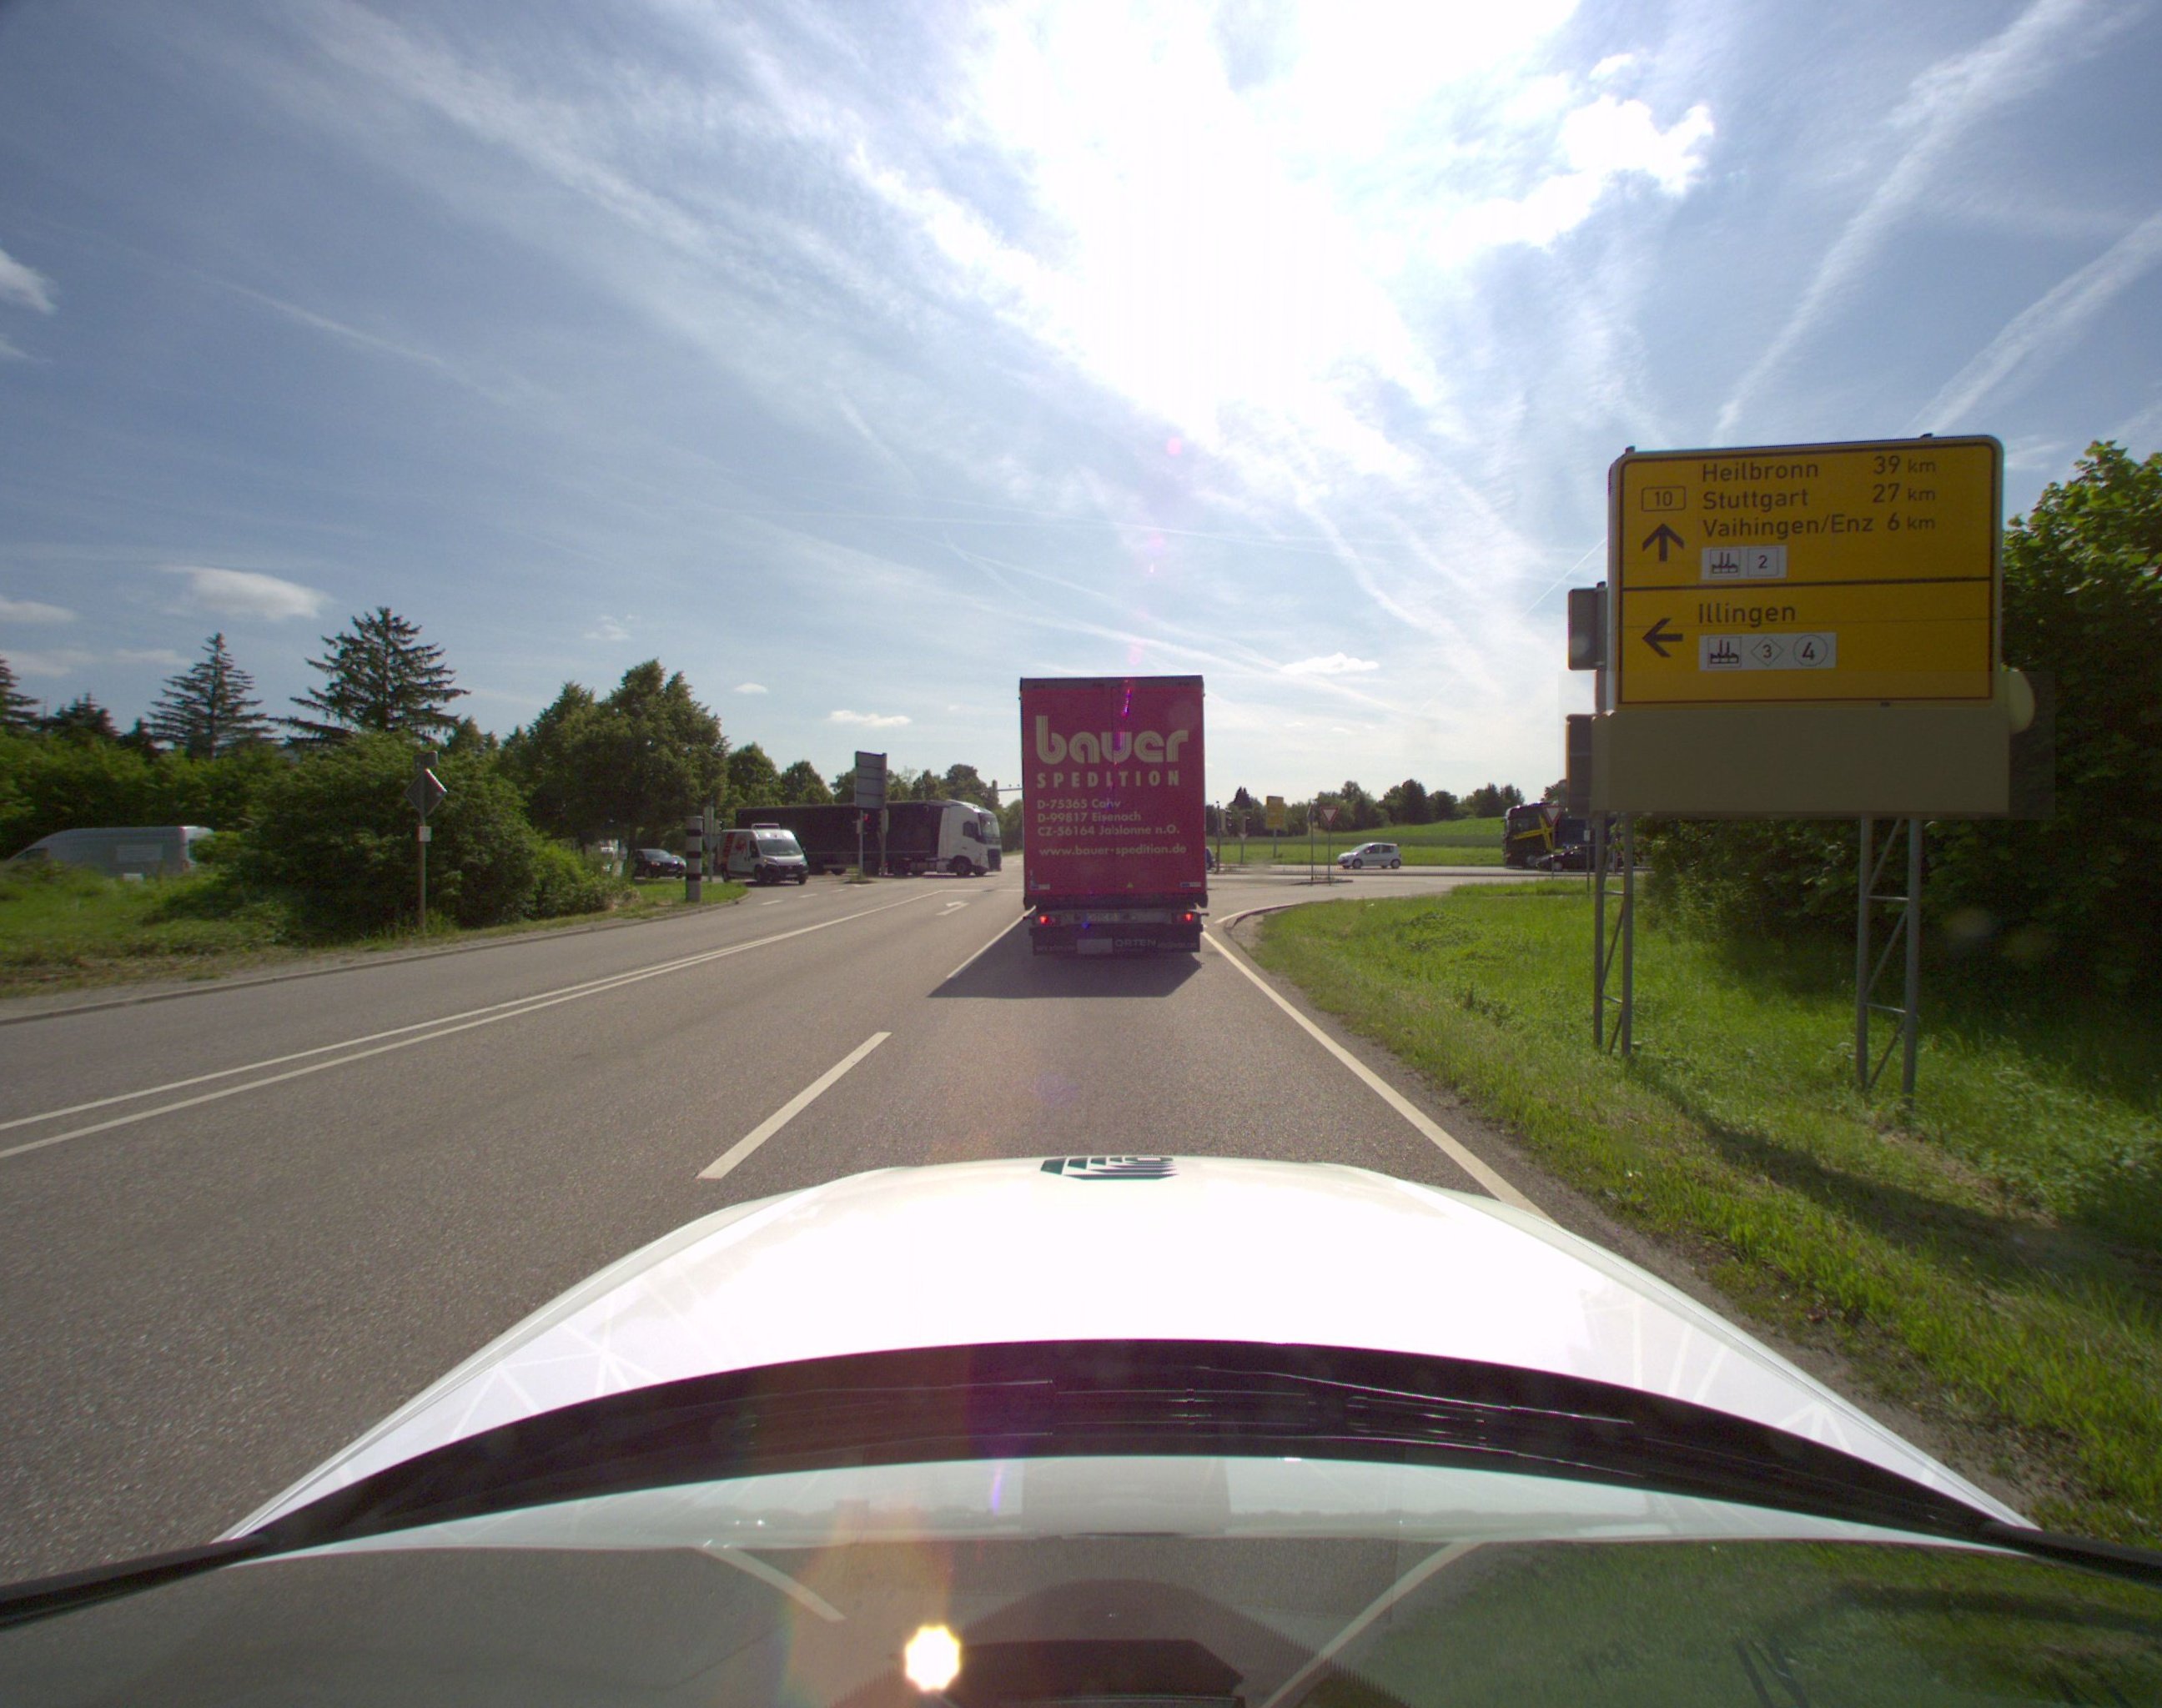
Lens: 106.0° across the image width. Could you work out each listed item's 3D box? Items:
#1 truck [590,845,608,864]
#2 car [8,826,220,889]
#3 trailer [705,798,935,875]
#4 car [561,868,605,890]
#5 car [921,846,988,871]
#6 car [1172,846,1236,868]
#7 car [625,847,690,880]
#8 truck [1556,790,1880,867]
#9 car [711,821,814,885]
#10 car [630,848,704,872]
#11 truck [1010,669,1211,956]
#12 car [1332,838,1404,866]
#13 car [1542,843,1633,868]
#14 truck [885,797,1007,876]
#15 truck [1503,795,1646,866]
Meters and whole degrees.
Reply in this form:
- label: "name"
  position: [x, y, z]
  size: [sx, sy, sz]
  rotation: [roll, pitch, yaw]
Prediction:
- label: "truck"
  position: [-101.070, 0.109, 170.881]
  size: [2.955, 3.798, 7.853]
  rotation: [-1, 0, -29]
- label: "car"
  position: [-35.487, 0.141, 30.085]
  size: [4.600, 2.180, 1.986]
  rotation: [0, 0, -22]
- label: "trailer"
  position: [-15.034, -0.954, 46.537]
  size: [13.569, 4.061, 2.813]
  rotation: [0, 1, 20]
- label: "car"
  position: [-37.061, 1.843, 60.542]
  size: [3.997, 1.416, 1.806]
  rotation: [1, 2, 43]
- label: "car"
  position: [-8.614, 0.302, 55.496]
  size: [4.070, 1.548, 1.880]
  rotation: [-1, -3, 14]
- label: "car"
  position: [7.633, 0.176, 50.572]
  size: [3.822, 1.357, 1.682]
  rotation: [0, 0, 12]
- label: "car"
  position: [-23.459, 0.509, 45.053]
  size: [4.058, 1.750, 1.884]
  rotation: [-1, -1, 42]
- label: "truck"
  position: [35.269, -1.346, 46.175]
  size: [14.155, 3.979, 3.045]
  rotation: [0, 1, 23]
- label: "car"
  position: [-14.392, -0.098, 36.596]
  size: [2.137, 2.654, 5.912]
  rotation: [0, 1, -45]
- label: "car"
  position: [-26.592, 0.354, 52.326]
  size: [4.211, 1.461, 1.819]
  rotation: [0, 0, 20]
- label: "truck"
  position: [0.714, -0.642, 19.511]
  size: [2.724, 3.925, 16.634]
  rotation: [-1, 0, 2]
- label: "car"
  position: [17.608, -0.116, 50.081]
  size: [3.822, 1.633, 1.757]
  rotation: [-1, -1, -6]
- label: "car"
  position: [27.532, 0.090, 44.380]
  size: [3.953, 1.310, 1.775]
  rotation: [-1, -1, 21]
- label: "truck"
  position: [-7.226, -0.919, 43.920]
  size: [5.780, 4.061, 2.811]
  rotation: [0, 1, 17]
- label: "truck"
  position: [29.199, -1.347, 48.572]
  size: [6.871, 3.993, 3.043]
  rotation: [0, 1, 21]
